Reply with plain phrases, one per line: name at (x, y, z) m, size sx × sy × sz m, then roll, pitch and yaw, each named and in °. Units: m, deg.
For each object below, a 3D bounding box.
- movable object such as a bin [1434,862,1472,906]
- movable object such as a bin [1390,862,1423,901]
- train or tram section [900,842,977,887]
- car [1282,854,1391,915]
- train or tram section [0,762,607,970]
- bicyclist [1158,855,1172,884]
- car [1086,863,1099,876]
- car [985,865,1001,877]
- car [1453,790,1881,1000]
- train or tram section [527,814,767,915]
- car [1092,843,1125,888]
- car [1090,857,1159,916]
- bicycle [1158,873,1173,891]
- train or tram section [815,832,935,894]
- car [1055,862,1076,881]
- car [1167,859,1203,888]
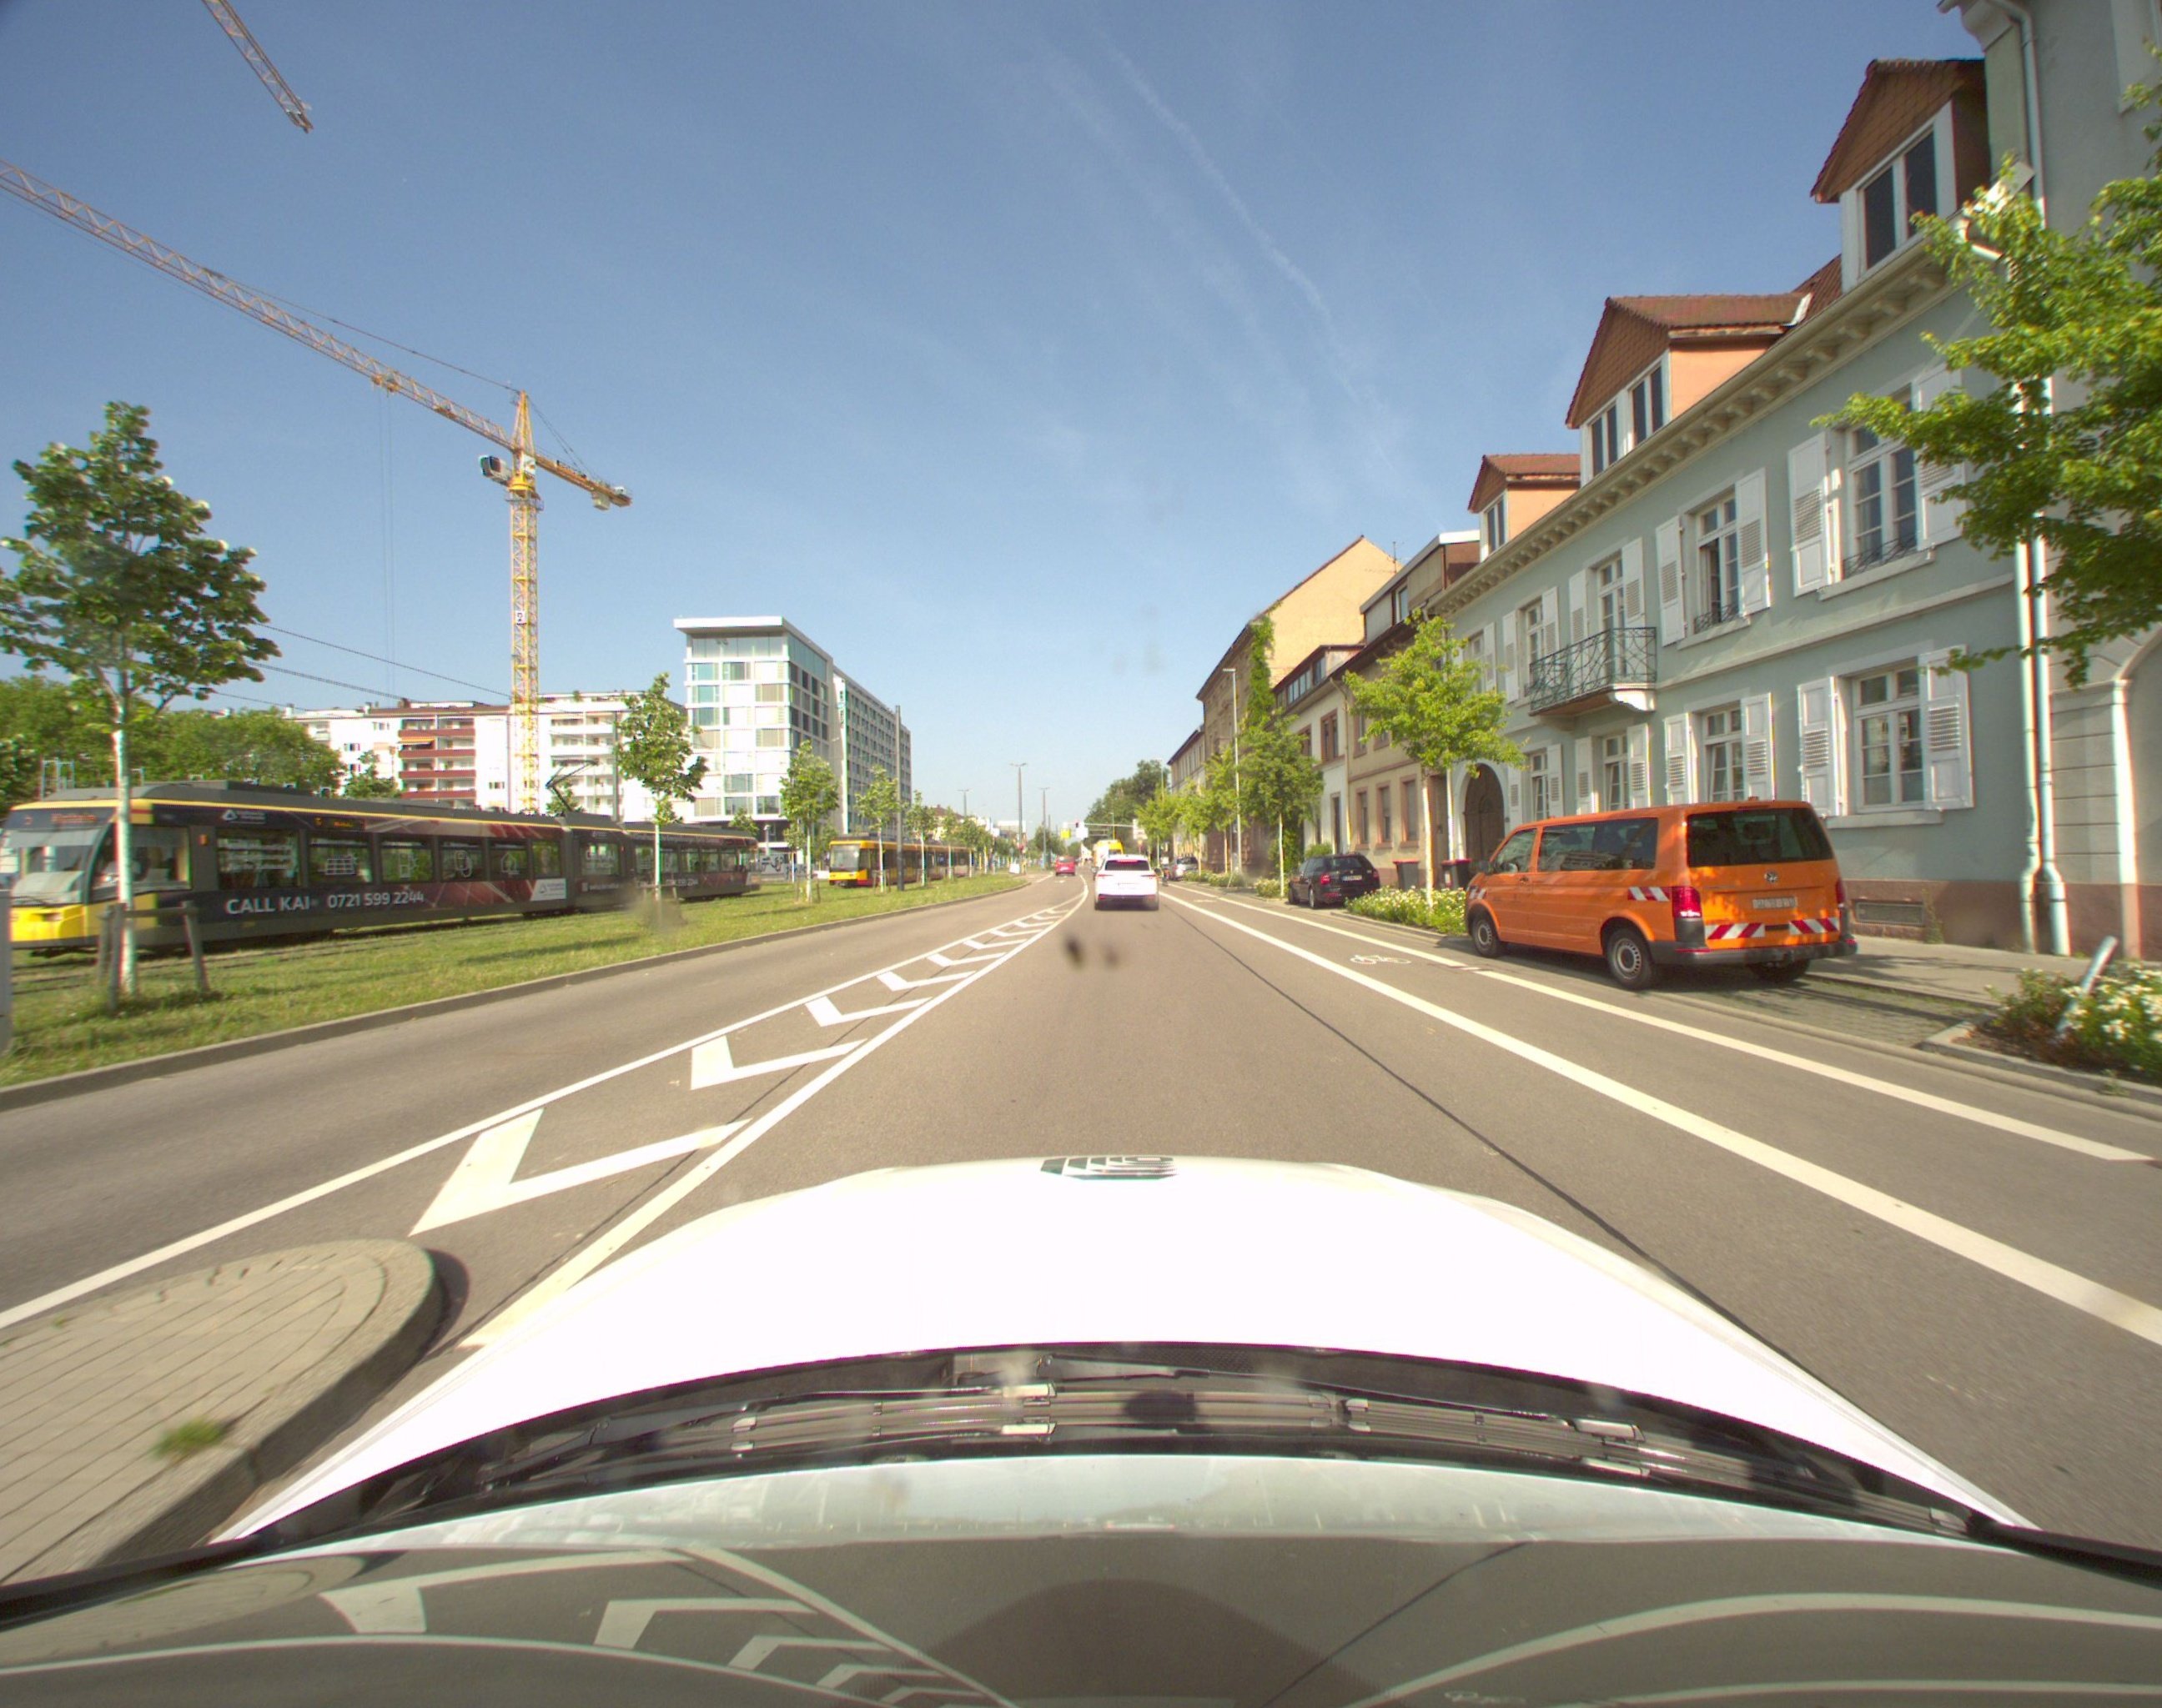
movable object such as a bin at (10.358, 0.834, 22.688) m, size 0.677 × 1.200 × 0.781 m, roll -1°, pitch -1°, yaw -1°
movable object such as a bin at (10.270, 0.854, 25.718) m, size 0.738 × 1.200 × 0.773 m, roll -1°, pitch -1°, yaw -1°
train or tram section at (-12.844, 1.032, 76.004) m, size 2.894 × 3.707 × 18.304 m, roll 0°, pitch -1°, yaw 3°
car at (7.078, 0.828, 23.025) m, size 1.668 × 1.483 × 4.311 m, roll -3°, pitch -1°, yaw 0°
train or tram section at (-18.347, 0.288, 21.388) m, size 2.850 × 3.537 × 14.899 m, roll -1°, pitch -1°, yaw 1°
bicyclist at (4.506, 0.825, 43.719) m, size 0.636 × 1.577 × 0.771 m, roll -1°, pitch -1°, yaw 2°
car at (1.710, 2.275, 121.665) m, size 1.924 × 1.821 × 4.001 m, roll -1°, pitch -1°, yaw 1°
car at (-12.818, 2.484, 118.868) m, size 1.809 × 1.622 × 4.002 m, roll -1°, pitch -1°, yaw 2°
car at (6.777, 0.401, 10.246) m, size 2.056 × 2.013 × 4.587 m, roll -1°, pitch 0°, yaw 0°
train or tram section at (-18.068, 0.437, 35.756) m, size 2.871 × 3.537 × 13.613 m, roll -1°, pitch -1°, yaw 2°
car at (1.819, 0.689, 54.923) m, size 2.013 × 2.795 × 5.401 m, roll -1°, pitch 1°, yaw 0°
car at (1.213, 0.904, 24.239) m, size 1.863 × 1.575 × 4.000 m, roll -1°, pitch -1°, yaw 0°
bicycle at (4.519, 1.498, 43.635) m, size 0.653 × 0.939 × 1.518 m, roll -1°, pitch -1°, yaw 2°
train or tram section at (-13.947, 0.716, 57.822) m, size 2.894 × 3.676 × 18.150 m, roll 0°, pitch -1°, yaw 3°
car at (-1.473, 1.670, 78.700) m, size 1.924 × 1.821 × 4.001 m, roll -1°, pitch -1°, yaw 1°
car at (6.733, 1.249, 53.149) m, size 1.807 × 1.813 × 3.835 m, roll -1°, pitch -1°, yaw 0°
